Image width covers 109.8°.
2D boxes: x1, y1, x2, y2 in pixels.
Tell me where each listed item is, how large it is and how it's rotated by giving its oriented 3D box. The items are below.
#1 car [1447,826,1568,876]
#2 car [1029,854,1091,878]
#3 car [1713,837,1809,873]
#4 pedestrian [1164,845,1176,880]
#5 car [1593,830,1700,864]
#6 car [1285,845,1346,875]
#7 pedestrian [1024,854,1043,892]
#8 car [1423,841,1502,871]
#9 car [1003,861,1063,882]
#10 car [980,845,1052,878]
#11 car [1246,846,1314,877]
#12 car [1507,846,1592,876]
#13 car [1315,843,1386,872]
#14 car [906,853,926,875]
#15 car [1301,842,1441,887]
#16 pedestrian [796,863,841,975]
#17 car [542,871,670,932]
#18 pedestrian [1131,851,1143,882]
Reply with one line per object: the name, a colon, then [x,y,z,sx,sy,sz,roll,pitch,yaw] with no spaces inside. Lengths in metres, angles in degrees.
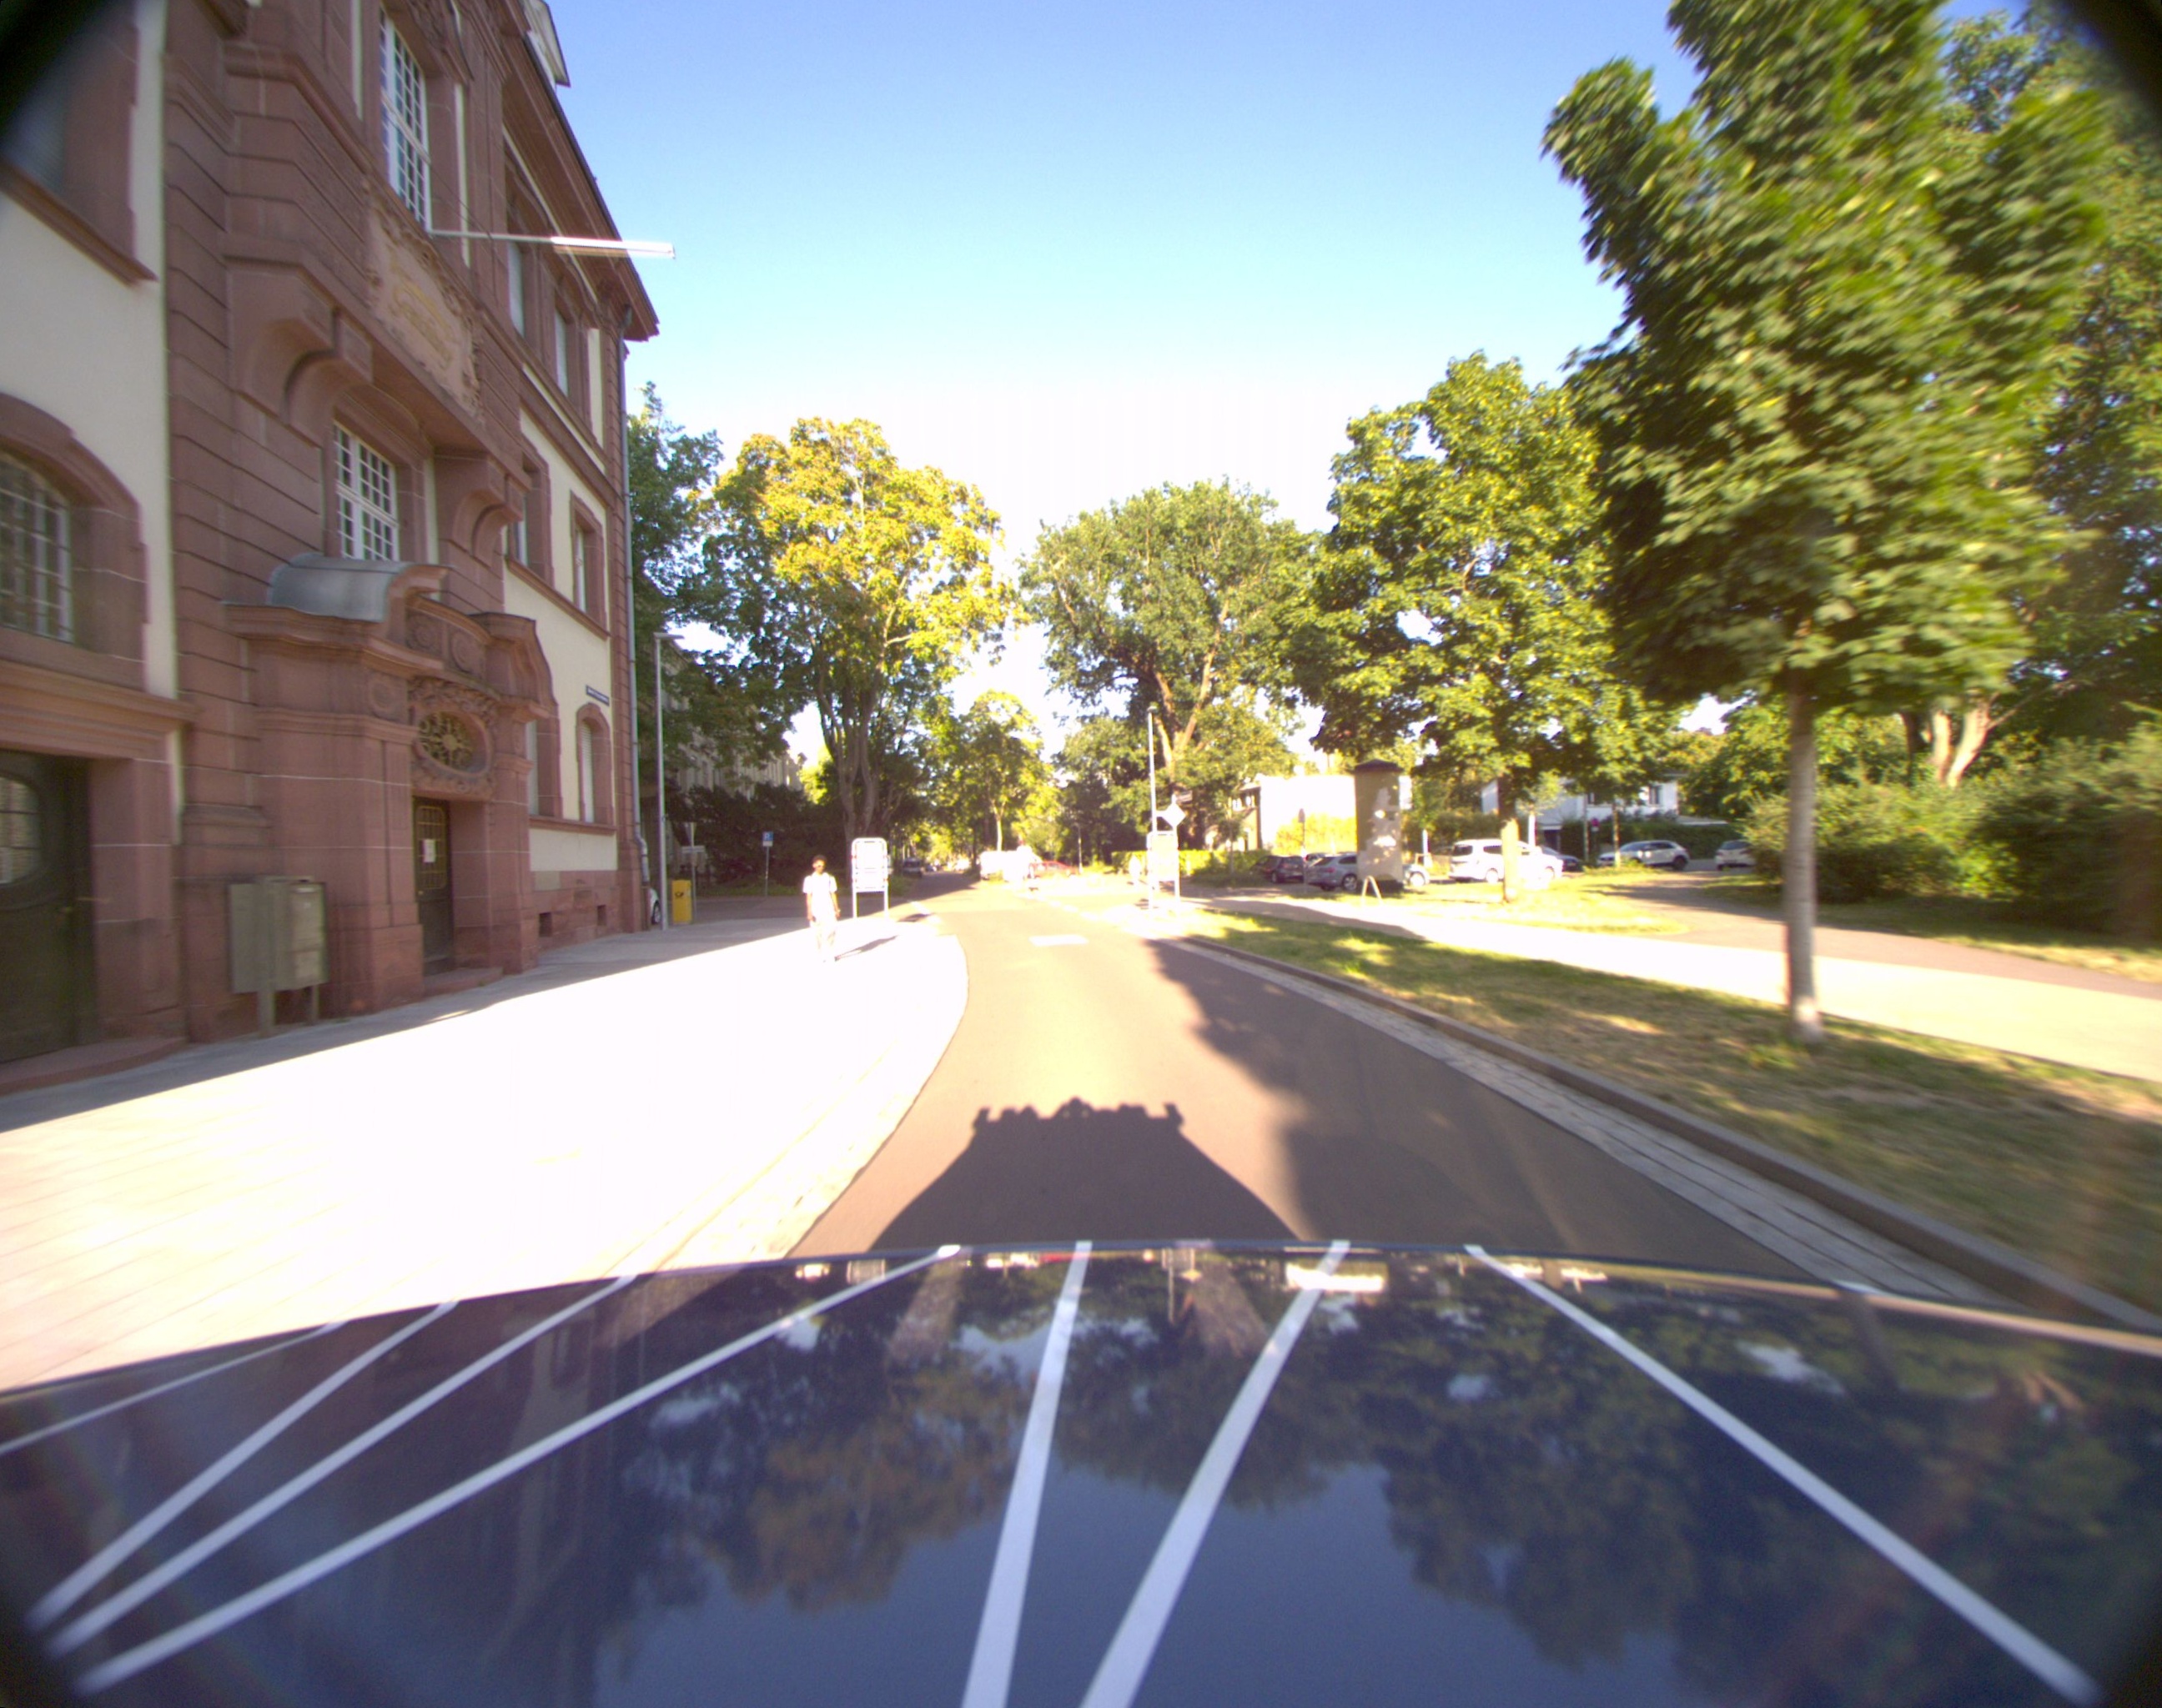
car: [17.575,-0.111,31.375,4.239,1.905,1.761,-2,0,-12]
car: [-1.392,0.759,49.597,3.681,1.412,1.716,-2,0,-14]
car: [31.049,0.059,34.727,3.311,1.500,1.716,-2,0,-15]
pedestrian: [4.569,0.433,39.111,0.435,1.764,0.666,-2,0,-8]
car: [28.642,-0.341,38.554,4.346,1.525,1.782,-1,-1,-8]
car: [12.497,0.294,40.667,1.638,1.483,3.351,-2,1,-14]
pedestrian: [-2.446,0.992,38.960,0.615,1.907,0.721,-2,0,-36]
car: [21.007,0.110,42.015,1.746,1.528,3.919,-3,0,-15]
car: [-3.473,1.254,54.872,4.061,1.412,1.716,-2,0,-14]
car: [-5.744,0.652,66.722,5.913,2.685,2.218,-2,0,-14]
car: [10.221,0.362,39.312,1.646,1.507,3.995,-2,1,-14]
car: [26.073,0.329,42.451,1.746,1.529,3.918,-2,1,-15]
car: [14.617,0.125,41.393,1.811,1.449,4.095,-2,1,-11]
car: [-19.678,1.170,90.753,1.953,2.584,4.162,-2,0,-9]
car: [11.333,0.385,29.774,4.839,1.549,1.866,-2,0,-12]
pedestrian: [-4.170,0.999,12.136,0.534,1.709,1.002,1,0,-12]
car: [-13.964,1.387,22.685,1.968,1.579,4.717,-1,-3,-16]
pedestrian: [2.940,0.638,39.680,0.435,1.571,0.666,-2,0,-8]
